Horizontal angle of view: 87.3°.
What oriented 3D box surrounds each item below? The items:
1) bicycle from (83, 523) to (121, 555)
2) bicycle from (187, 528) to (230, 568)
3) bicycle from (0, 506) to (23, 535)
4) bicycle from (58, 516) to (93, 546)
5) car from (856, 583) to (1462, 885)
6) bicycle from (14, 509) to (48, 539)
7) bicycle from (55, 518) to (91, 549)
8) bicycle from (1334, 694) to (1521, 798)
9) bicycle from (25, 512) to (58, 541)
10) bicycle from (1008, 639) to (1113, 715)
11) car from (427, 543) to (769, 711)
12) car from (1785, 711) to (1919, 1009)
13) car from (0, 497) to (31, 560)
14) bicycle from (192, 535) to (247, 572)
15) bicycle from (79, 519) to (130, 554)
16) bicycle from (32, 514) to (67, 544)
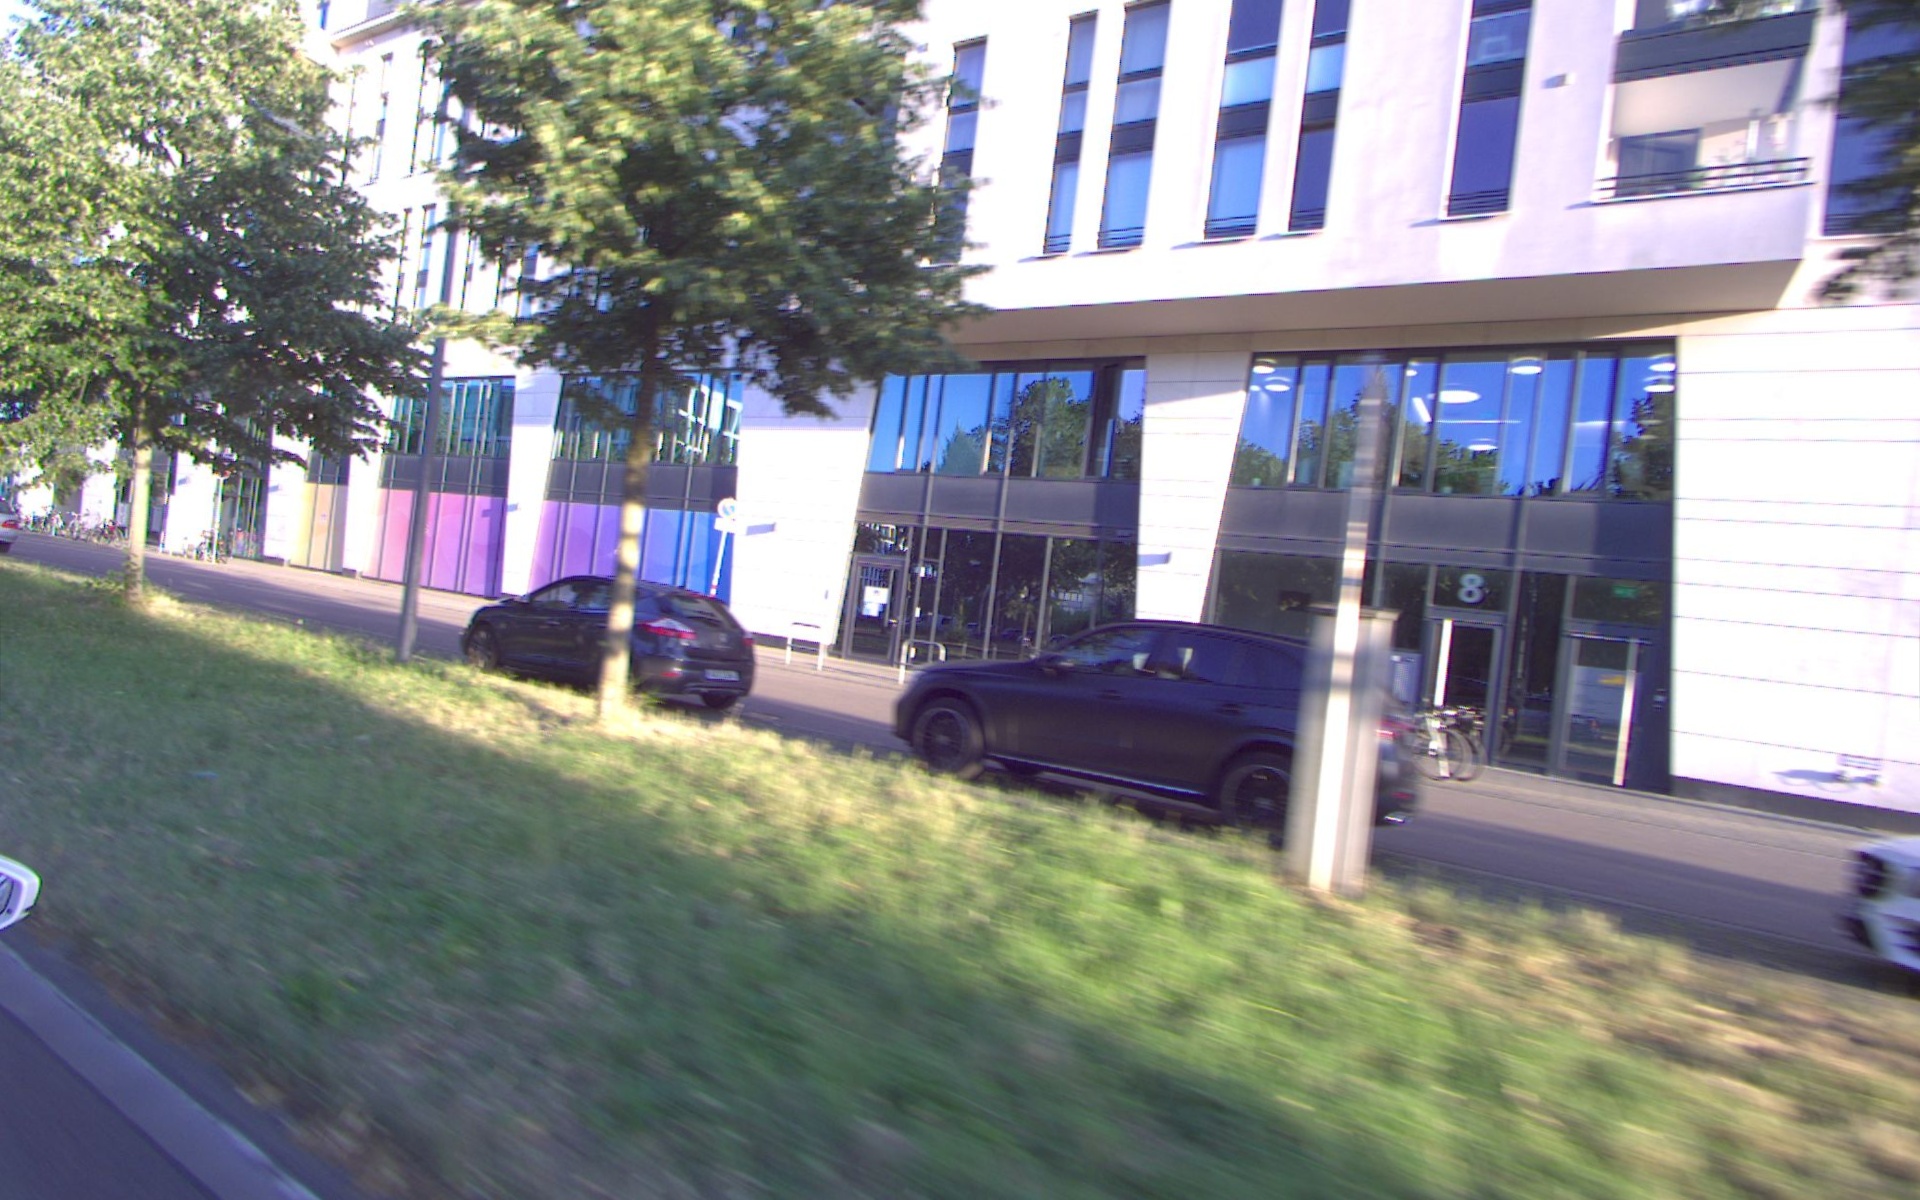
[{"bbox_3d":[-32.753,-2.331,38.377,1.826,1.075,0.533,7,2,32],"label":"bicycle"},{"bbox_3d":[-25.607,-1.778,34.280,1.751,1.179,0.538,7,2,32],"label":"bicycle"},{"bbox_3d":[-40.635,-3.405,42.699,1.748,1.075,0.534,7,2,22],"label":"bicycle"},{"bbox_3d":[-36.413,-2.844,41.389,1.826,1.075,0.533,7,2,32],"label":"bicycle"},{"bbox_3d":[1.655,1.007,8.917,4.740,1.641,1.958,7,-3,31],"label":"car"},{"bbox_3d":[-39.584,-3.245,42.844,1.826,1.074,0.534,7,0,32],"label":"bicycle"},{"bbox_3d":[-35.192,-2.642,39.916,1.826,1.075,0.533,7,2,32],"label":"bicycle"},{"bbox_3d":[6.454,1.984,13.949,2.223,1.046,0.621,6,0,31],"label":"bicycle"},{"bbox_3d":[-40.061,-3.206,43.863,1.826,1.074,0.533,7,2,32],"label":"bicycle"},{"bbox_3d":[1.696,1.302,17.097,1.584,1.072,0.534,6,0,26],"label":"bicycle"},{"bbox_3d":[-4.633,0.306,12.694,4.162,1.518,1.727,7,-2,32],"label":"car"},{"bbox_3d":[7.501,1.697,4.965,4.926,1.519,1.924,7,-1,31],"label":"car"},{"bbox_3d":[-26.418,-2.100,26.283,4.744,1.519,1.812,7,-1,31],"label":"car"},{"bbox_3d":[-25.468,-1.615,34.600,1.822,1.075,0.534,7,2,19],"label":"bicycle"},{"bbox_3d":[-31.538,-2.343,37.103,1.822,1.075,0.534,7,2,19],"label":"bicycle"},{"bbox_3d":[-37.557,-2.947,41.487,1.826,1.075,0.533,7,2,32],"label":"bicycle"}]
